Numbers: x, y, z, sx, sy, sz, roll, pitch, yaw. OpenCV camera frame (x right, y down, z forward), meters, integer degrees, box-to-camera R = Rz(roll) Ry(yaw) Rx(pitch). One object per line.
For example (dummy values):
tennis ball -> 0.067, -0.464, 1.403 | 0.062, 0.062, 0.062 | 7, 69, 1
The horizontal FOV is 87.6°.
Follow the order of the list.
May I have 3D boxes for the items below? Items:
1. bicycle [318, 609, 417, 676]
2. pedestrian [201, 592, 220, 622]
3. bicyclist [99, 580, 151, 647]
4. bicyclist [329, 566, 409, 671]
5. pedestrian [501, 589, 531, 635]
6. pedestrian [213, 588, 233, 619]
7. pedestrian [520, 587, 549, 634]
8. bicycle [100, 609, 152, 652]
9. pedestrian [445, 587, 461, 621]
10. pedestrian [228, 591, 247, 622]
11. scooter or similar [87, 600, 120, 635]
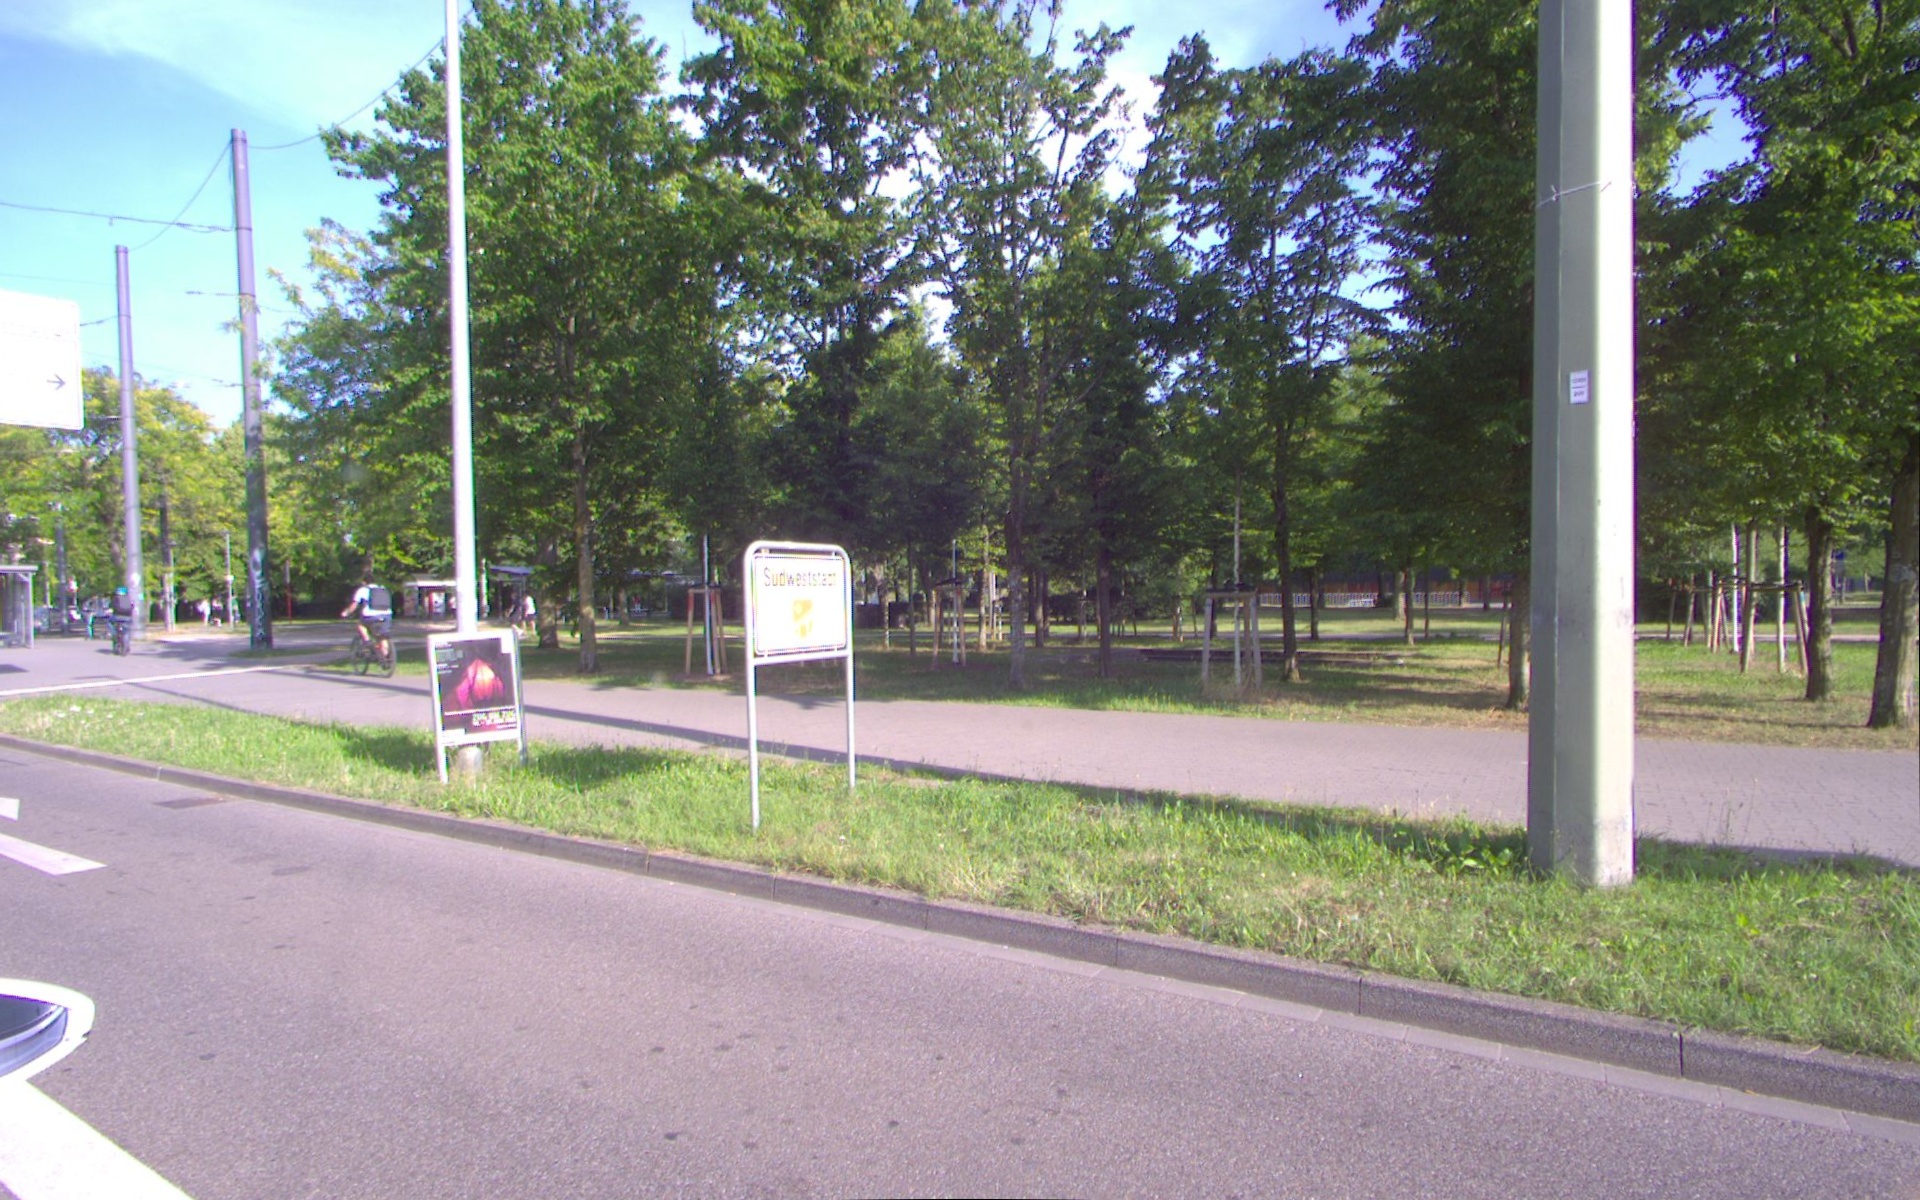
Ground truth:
bicycle -> -10.546, 0.741, 17.803 | 1.912, 1.103, 0.639 | -1, 3, 32
pedestrian -> -41.765, 0.378, 55.784 | 0.681, 1.632, 0.639 | 0, 1, 32
bicyclist -> -22.925, 0.366, 27.502 | 1.125, 1.770, 0.717 | 0, 4, 36
bicyclist -> -10.438, 0.322, 17.691 | 1.123, 1.770, 0.647 | -1, 4, 31
pedestrian -> -17.766, 0.476, 40.079 | 0.866, 1.800, 0.671 | 0, -1, 26
pedestrian -> -40.914, 0.175, 55.569 | 0.681, 1.688, 0.639 | 0, 1, 32
pedestrian -> -17.493, 0.426, 41.173 | 0.865, 1.922, 0.672 | 0, -1, 22
bicycle -> -22.938, 0.819, 27.535 | 1.711, 1.103, 0.638 | 0, 3, 36
pedestrian -> -28.099, 0.229, 55.507 | 0.594, 1.891, 0.462 | 0, -1, 1
pedestrian -> -39.800, 0.356, 55.167 | 0.681, 1.688, 0.639 | 0, 1, 32
scooter or similar -> -31.436, 0.641, 36.745 | 1.115, 1.248, 0.351 | 0, 1, 18
